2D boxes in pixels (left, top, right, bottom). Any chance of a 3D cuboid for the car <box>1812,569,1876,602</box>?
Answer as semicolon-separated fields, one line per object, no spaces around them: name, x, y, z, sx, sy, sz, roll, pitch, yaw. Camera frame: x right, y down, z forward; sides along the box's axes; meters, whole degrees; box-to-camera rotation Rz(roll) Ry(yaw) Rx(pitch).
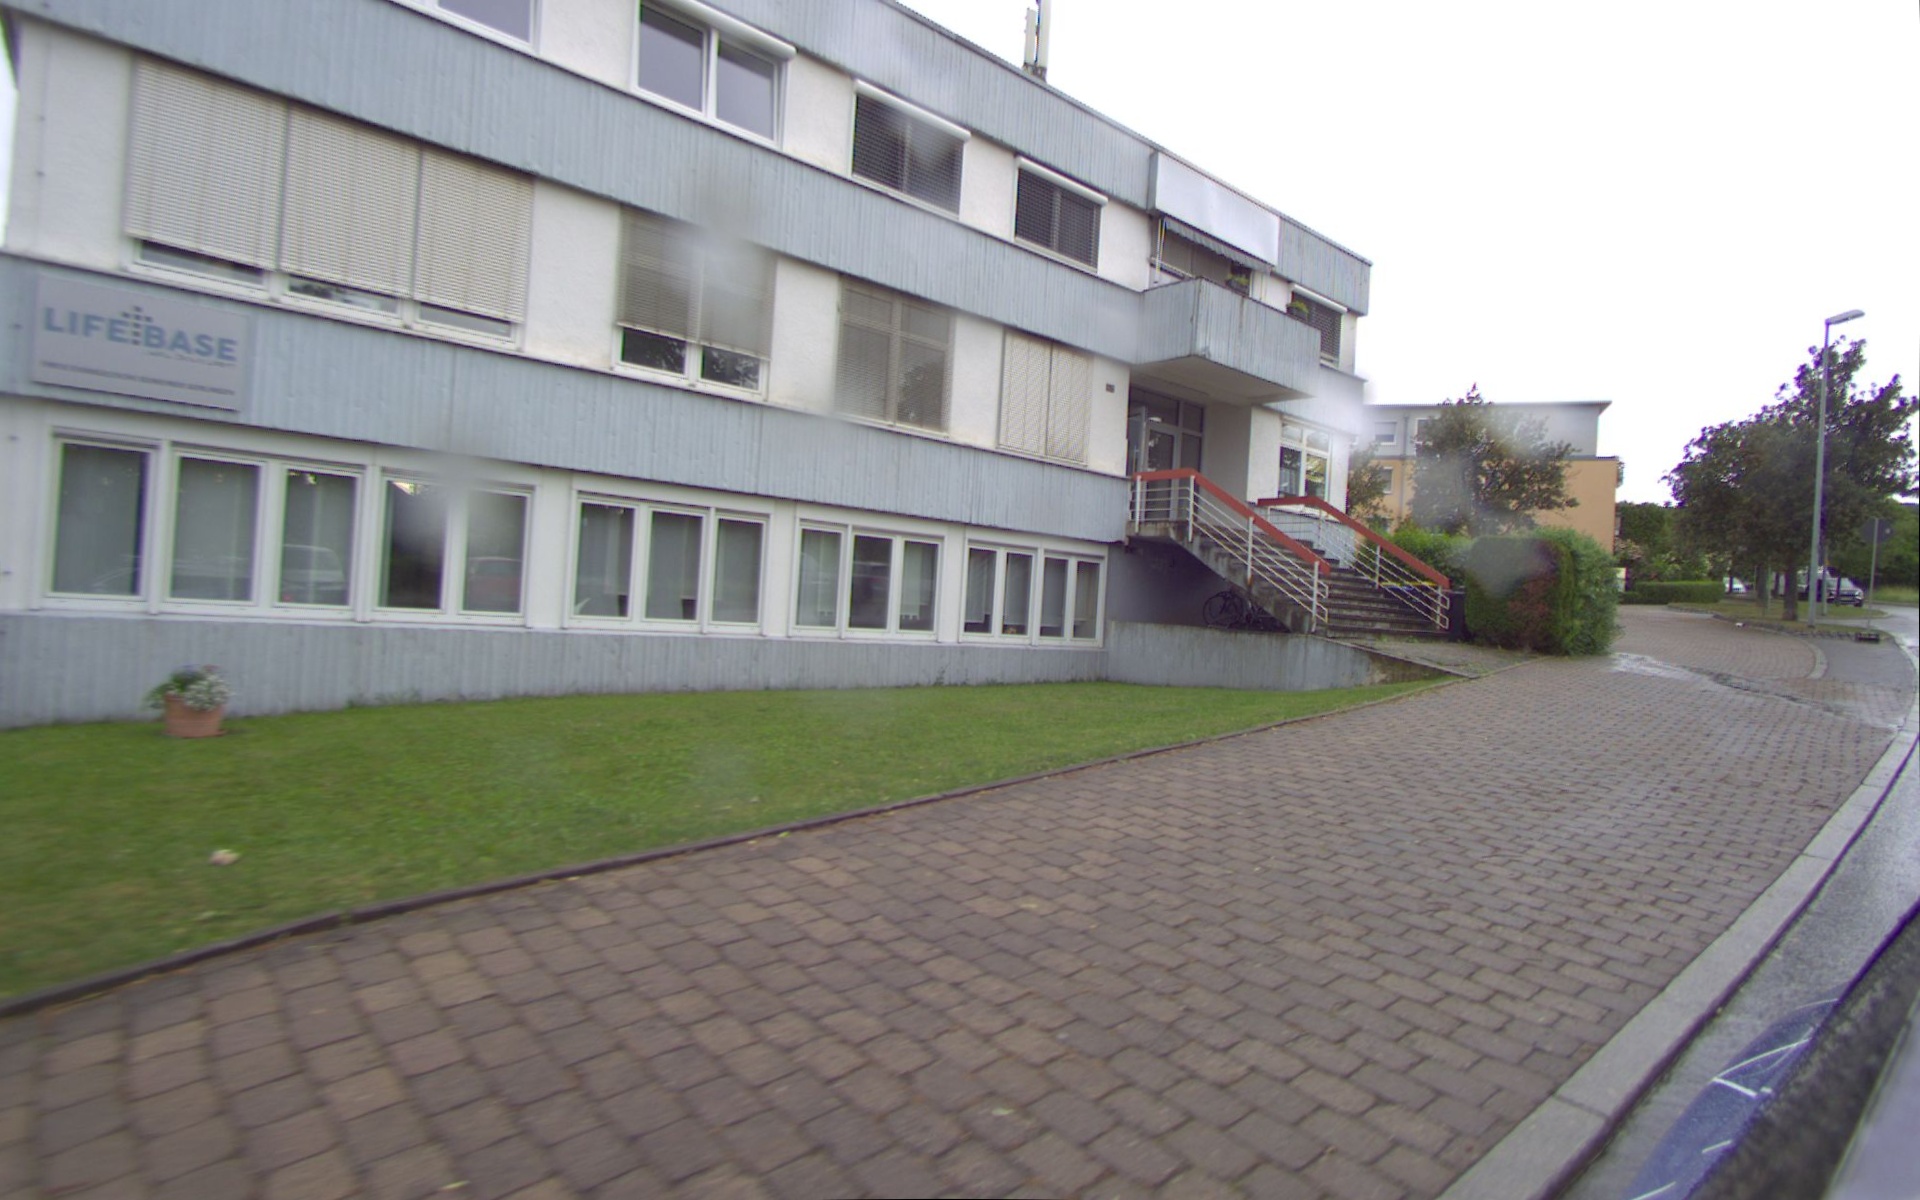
car;50.878;-0.876;58.318;1.802;1.747;4.605;2;3;29

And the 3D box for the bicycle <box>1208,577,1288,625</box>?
bicycle;5.405;0.013;19.027;1.408;0.840;0.283;2;2;27

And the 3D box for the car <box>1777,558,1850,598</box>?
car;53.579;-1.419;63.633;2.033;2.360;5.362;2;2;25

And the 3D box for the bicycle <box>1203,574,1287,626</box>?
bicycle;5.268;-0.012;18.761;1.457;0.913;0.283;2;2;27

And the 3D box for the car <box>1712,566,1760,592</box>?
car;59.406;-1.663;77.543;1.803;1.806;3.795;2;4;20
